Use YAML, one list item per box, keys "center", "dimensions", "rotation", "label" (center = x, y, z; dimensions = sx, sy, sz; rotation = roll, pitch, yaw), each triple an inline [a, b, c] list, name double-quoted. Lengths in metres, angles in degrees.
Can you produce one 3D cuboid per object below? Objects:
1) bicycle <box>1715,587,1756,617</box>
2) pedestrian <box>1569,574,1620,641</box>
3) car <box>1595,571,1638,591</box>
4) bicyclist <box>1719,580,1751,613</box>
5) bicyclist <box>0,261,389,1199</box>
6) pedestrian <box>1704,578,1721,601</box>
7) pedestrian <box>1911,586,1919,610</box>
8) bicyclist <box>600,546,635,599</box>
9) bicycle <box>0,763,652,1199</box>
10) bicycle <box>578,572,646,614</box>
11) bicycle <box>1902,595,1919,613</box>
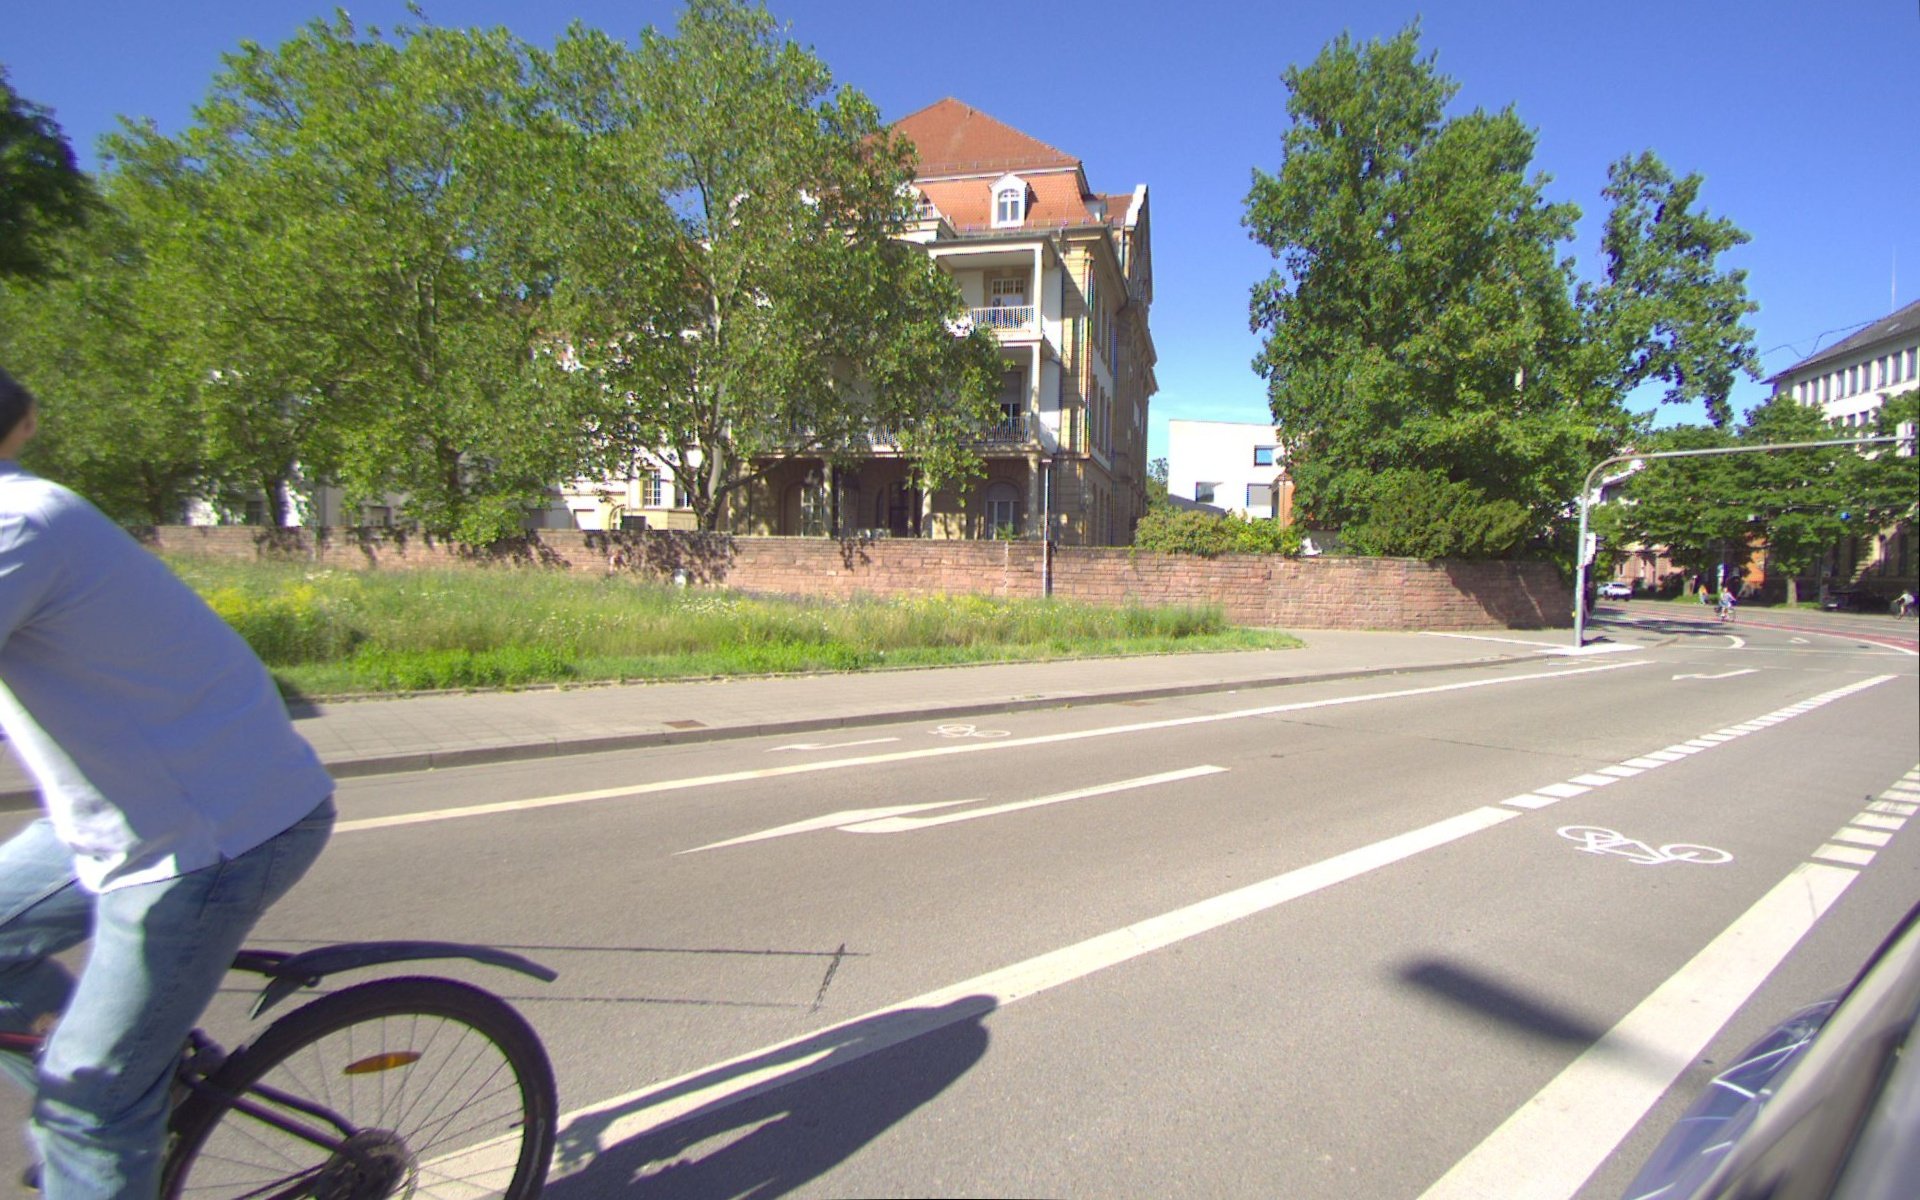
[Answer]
- center: [38.183, 0.076, 49.854]
  dimensions: [0.753, 1.385, 2.720]
  rotation: [2, 2, 20]
  label: "bicycle"
- center: [18.489, 0.197, 29.503]
  dimensions: [0.718, 1.872, 0.961]
  rotation: [0, 3, -37]
  label: "pedestrian"
- center: [57.972, -1.684, 89.431]
  dimensions: [1.820, 1.571, 4.319]
  rotation: [3, 3, 14]
  label: "car"
- center: [38.220, -0.195, 49.927]
  dimensions: [0.859, 1.579, 1.272]
  rotation: [2, 2, 20]
  label: "bicyclist"
- center: [-1.448, 0.413, 1.552]
  dimensions: [0.851, 1.695, 0.741]
  rotation: [0, 2, -42]
  label: "bicyclist"
- center: [62.281, -0.886, 83.754]
  dimensions: [0.745, 1.835, 0.978]
  rotation: [1, 1, 9]
  label: "pedestrian"
- center: [55.114, -0.118, 57.998]
  dimensions: [0.586, 1.420, 0.644]
  rotation: [0, 0, 10]
  label: "pedestrian"
- center: [-10.719, -0.867, 31.705]
  dimensions: [0.768, 1.626, 0.718]
  rotation: [1, 1, 19]
  label: "bicyclist"
- center: [-1.514, 0.944, 1.517]
  dimensions: [1.870, 1.063, 0.749]
  rotation: [0, 2, -42]
  label: "bicycle"
- center: [-10.909, -0.224, 31.721]
  dimensions: [1.862, 1.083, 0.720]
  rotation: [6, -1, 20]
  label: "bicycle"
- center: [55.130, 0.221, 58.030]
  dimensions: [0.591, 1.019, 1.982]
  rotation: [0, 1, 9]
  label: "bicycle"
